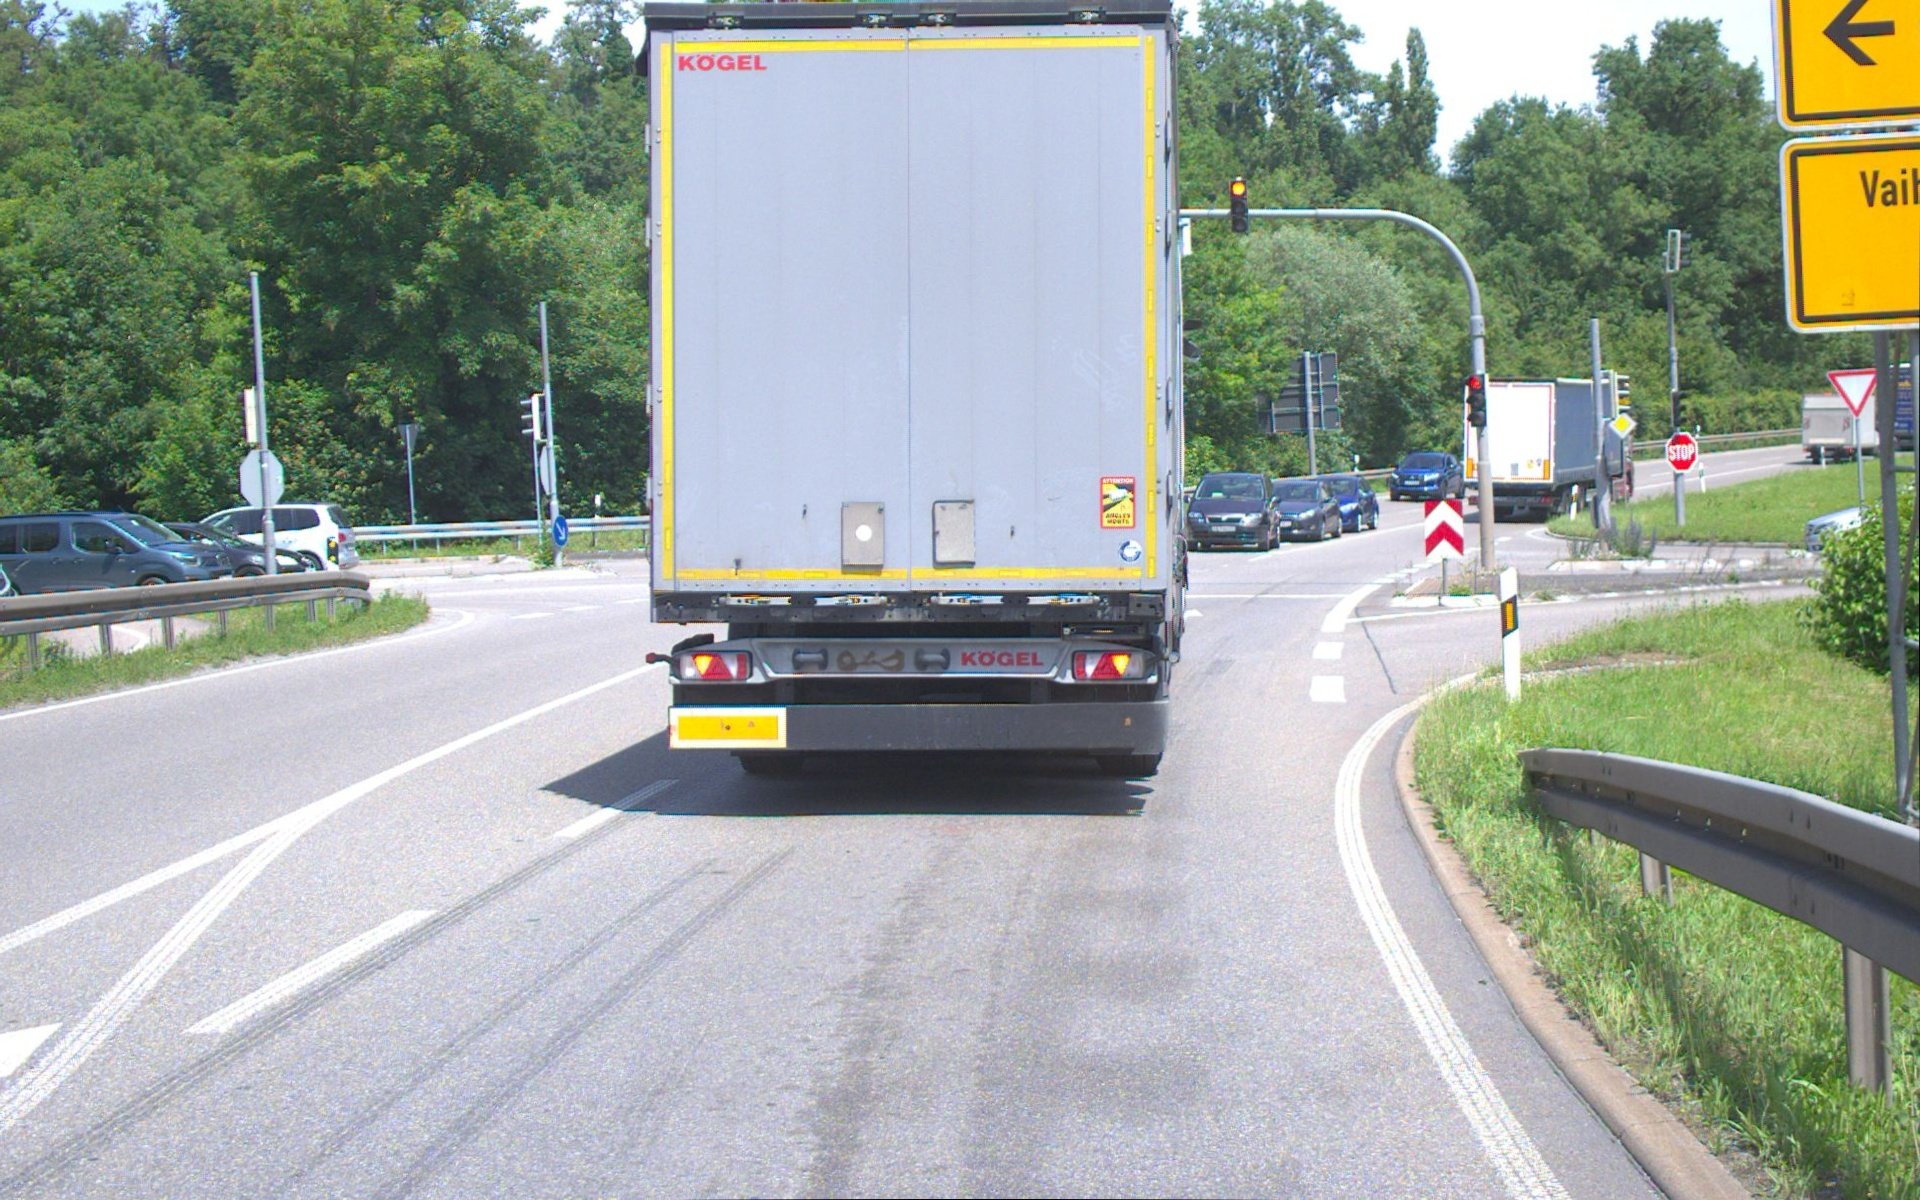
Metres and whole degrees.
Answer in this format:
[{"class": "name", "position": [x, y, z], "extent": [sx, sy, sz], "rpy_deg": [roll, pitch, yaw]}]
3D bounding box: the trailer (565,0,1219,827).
[{"class": "trailer", "position": [0.007, -1.139, 22.461], "extent": [3.052, 4.020, 12.558], "rpy_deg": [0, 2, 3]}]

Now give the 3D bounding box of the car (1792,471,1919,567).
[{"class": "car", "position": [17.698, -1.468, 63.394], "extent": [4.429, 1.712, 1.999], "rpy_deg": [1, 0, 10]}]

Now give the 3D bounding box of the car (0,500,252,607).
[{"class": "car", "position": [-14.446, -0.792, 58.521], "extent": [4.236, 1.764, 1.999], "rpy_deg": [0, 1, 15]}]

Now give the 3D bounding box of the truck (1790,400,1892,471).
[{"class": "truck", "position": [38.242, -7.105, 149.094], "extent": [2.859, 2.937, 7.095], "rpy_deg": [1, 2, 26]}]

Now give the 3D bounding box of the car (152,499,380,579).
[{"class": "car", "position": [-13.831, -1.214, 68.630], "extent": [3.988, 1.514, 1.999], "rpy_deg": [1, 0, 9]}]

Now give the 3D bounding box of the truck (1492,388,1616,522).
[{"class": "truck", "position": [18.345, -4.430, 105.917], "extent": [3.171, 3.990, 5.811], "rpy_deg": [0, 2, 16]}]

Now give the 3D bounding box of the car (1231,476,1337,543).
[{"class": "car", "position": [7.885, -2.176, 83.302], "extent": [1.995, 1.485, 4.255], "rpy_deg": [1, 0, 13]}]

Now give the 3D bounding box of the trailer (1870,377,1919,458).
[{"class": "trailer", "position": [45.954, -8.660, 163.716], "extent": [3.256, 3.672, 9.238], "rpy_deg": [1, 2, 26]}]

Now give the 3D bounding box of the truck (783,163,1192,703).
[{"class": "truck", "position": [0.379, -1.345, 29.086], "extent": [3.038, 4.020, 6.629], "rpy_deg": [0, 2, 3]}]

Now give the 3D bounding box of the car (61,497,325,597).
[{"class": "car", "position": [-13.949, -0.964, 62.622], "extent": [4.236, 1.764, 1.999], "rpy_deg": [0, 1, 15]}]

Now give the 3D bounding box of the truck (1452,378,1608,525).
[{"class": "truck", "position": [16.739, -4.248, 100.285], "extent": [3.181, 4.015, 11.737], "rpy_deg": [0, 2, 16]}]

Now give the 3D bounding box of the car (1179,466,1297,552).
[{"class": "car", "position": [6.215, -1.996, 76.419], "extent": [1.994, 1.779, 4.940], "rpy_deg": [1, 0, 12]}]
